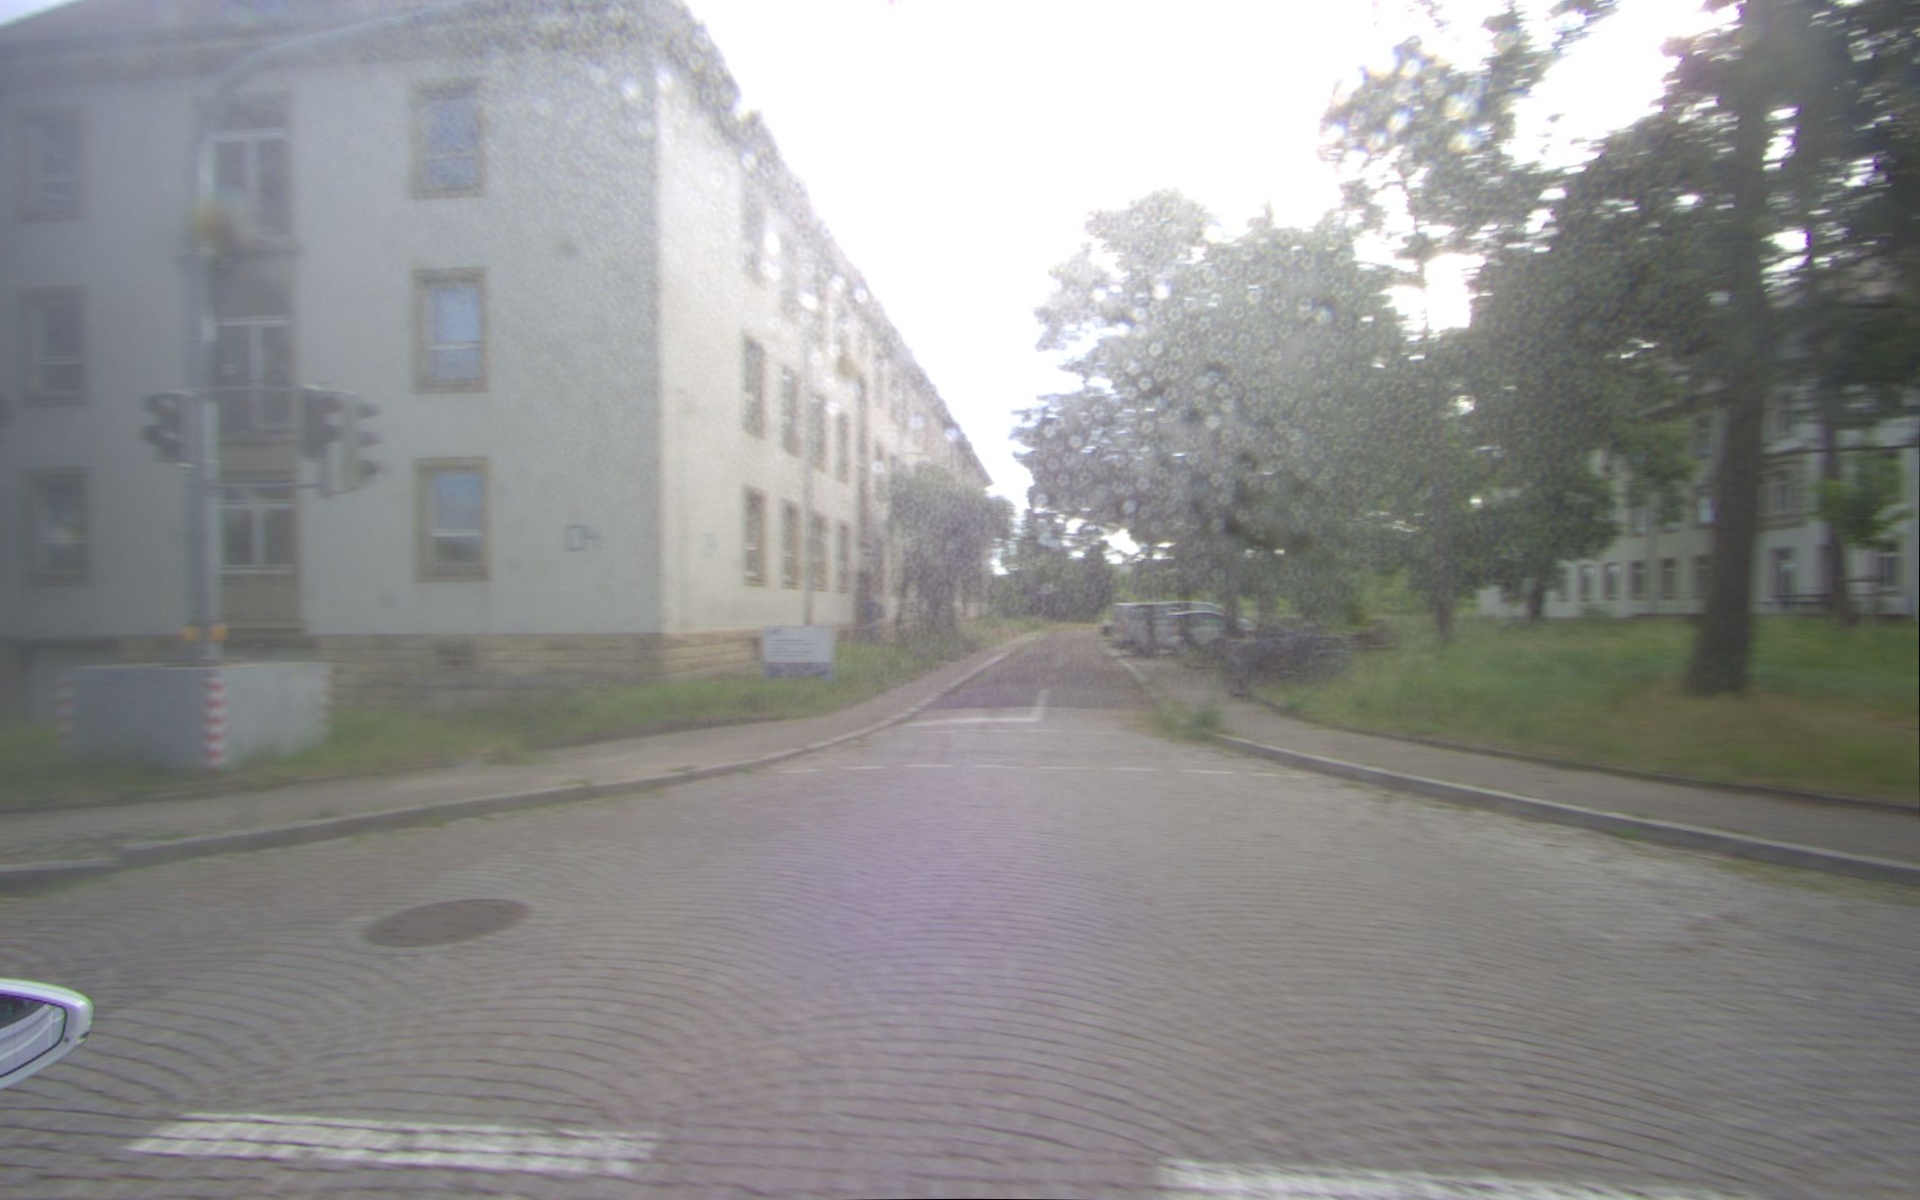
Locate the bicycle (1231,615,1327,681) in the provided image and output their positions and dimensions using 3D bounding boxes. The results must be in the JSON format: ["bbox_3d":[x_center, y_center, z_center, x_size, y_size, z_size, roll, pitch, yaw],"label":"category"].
[{"bbox_3d":[6.592,0.991,20.764,1.802,1.349,0.573,0,0,1],"label":"bicycle"}]

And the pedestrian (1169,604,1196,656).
[{"bbox_3d":[7.680,1.023,34.611,0.863,1.760,0.799,0,0,11],"label":"pedestrian"}]

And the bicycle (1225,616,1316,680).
[{"bbox_3d":[6.689,1.023,21.621,1.802,1.349,0.573,0,0,1],"label":"bicycle"}]

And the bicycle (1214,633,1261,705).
[{"bbox_3d":[4.673,1.131,16.932,0.562,1.099,1.837,-2,-1,10],"label":"bicycle"}]

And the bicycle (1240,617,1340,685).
[{"bbox_3d":[6.570,1.009,19.997,1.802,1.349,0.573,0,0,1],"label":"bicycle"}]

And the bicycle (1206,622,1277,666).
[{"bbox_3d":[7.831,1.214,27.869,1.802,1.202,0.573,0,0,0],"label":"bicycle"}]

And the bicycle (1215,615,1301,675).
[{"bbox_3d":[6.800,1.031,22.898,1.802,1.349,0.573,0,0,1],"label":"bicycle"}]

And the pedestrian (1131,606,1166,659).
[{"bbox_3d":[6.313,1.074,33.526,0.813,1.760,0.876,0,0,-44],"label":"pedestrian"}]

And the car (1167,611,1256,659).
[{"bbox_3d":[8.221,1.119,32.857,2.641,1.528,1.476,0,0,7],"label":"car"}]

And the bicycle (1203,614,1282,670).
[{"bbox_3d":[6.994,1.032,24.806,1.802,1.349,0.573,0,0,1],"label":"bicycle"}]

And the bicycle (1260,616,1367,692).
[{"bbox_3d":[6.487,0.972,18.438,1.804,1.349,0.572,0,0,14],"label":"bicycle"}]

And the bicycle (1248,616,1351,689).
[{"bbox_3d":[6.444,0.977,19.074,1.804,1.349,0.572,0,0,14],"label":"bicycle"}]

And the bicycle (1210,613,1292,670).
[{"bbox_3d":[6.984,1.000,24.091,1.802,1.349,0.573,0,0,1],"label":"bicycle"}]

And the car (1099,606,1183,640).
[{"bbox_3d":[9.607,1.216,53.388,4.302,1.740,2.000,0,0,7],"label":"car"}]

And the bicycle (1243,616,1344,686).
[{"bbox_3d":[6.511,0.994,19.567,1.802,1.349,0.482,0,0,1],"label":"bicycle"}]

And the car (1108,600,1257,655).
[{"bbox_3d":[7.890,0.973,35.931,5.019,1.909,2.000,0,0,7],"label":"car"}]

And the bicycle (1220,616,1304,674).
[{"bbox_3d":[7.064,1.051,23.482,1.802,1.349,0.573,0,0,1],"label":"bicycle"}]

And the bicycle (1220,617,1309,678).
[{"bbox_3d":[6.725,1.043,22.184,1.802,1.349,0.573,0,0,1],"label":"bicycle"}]
